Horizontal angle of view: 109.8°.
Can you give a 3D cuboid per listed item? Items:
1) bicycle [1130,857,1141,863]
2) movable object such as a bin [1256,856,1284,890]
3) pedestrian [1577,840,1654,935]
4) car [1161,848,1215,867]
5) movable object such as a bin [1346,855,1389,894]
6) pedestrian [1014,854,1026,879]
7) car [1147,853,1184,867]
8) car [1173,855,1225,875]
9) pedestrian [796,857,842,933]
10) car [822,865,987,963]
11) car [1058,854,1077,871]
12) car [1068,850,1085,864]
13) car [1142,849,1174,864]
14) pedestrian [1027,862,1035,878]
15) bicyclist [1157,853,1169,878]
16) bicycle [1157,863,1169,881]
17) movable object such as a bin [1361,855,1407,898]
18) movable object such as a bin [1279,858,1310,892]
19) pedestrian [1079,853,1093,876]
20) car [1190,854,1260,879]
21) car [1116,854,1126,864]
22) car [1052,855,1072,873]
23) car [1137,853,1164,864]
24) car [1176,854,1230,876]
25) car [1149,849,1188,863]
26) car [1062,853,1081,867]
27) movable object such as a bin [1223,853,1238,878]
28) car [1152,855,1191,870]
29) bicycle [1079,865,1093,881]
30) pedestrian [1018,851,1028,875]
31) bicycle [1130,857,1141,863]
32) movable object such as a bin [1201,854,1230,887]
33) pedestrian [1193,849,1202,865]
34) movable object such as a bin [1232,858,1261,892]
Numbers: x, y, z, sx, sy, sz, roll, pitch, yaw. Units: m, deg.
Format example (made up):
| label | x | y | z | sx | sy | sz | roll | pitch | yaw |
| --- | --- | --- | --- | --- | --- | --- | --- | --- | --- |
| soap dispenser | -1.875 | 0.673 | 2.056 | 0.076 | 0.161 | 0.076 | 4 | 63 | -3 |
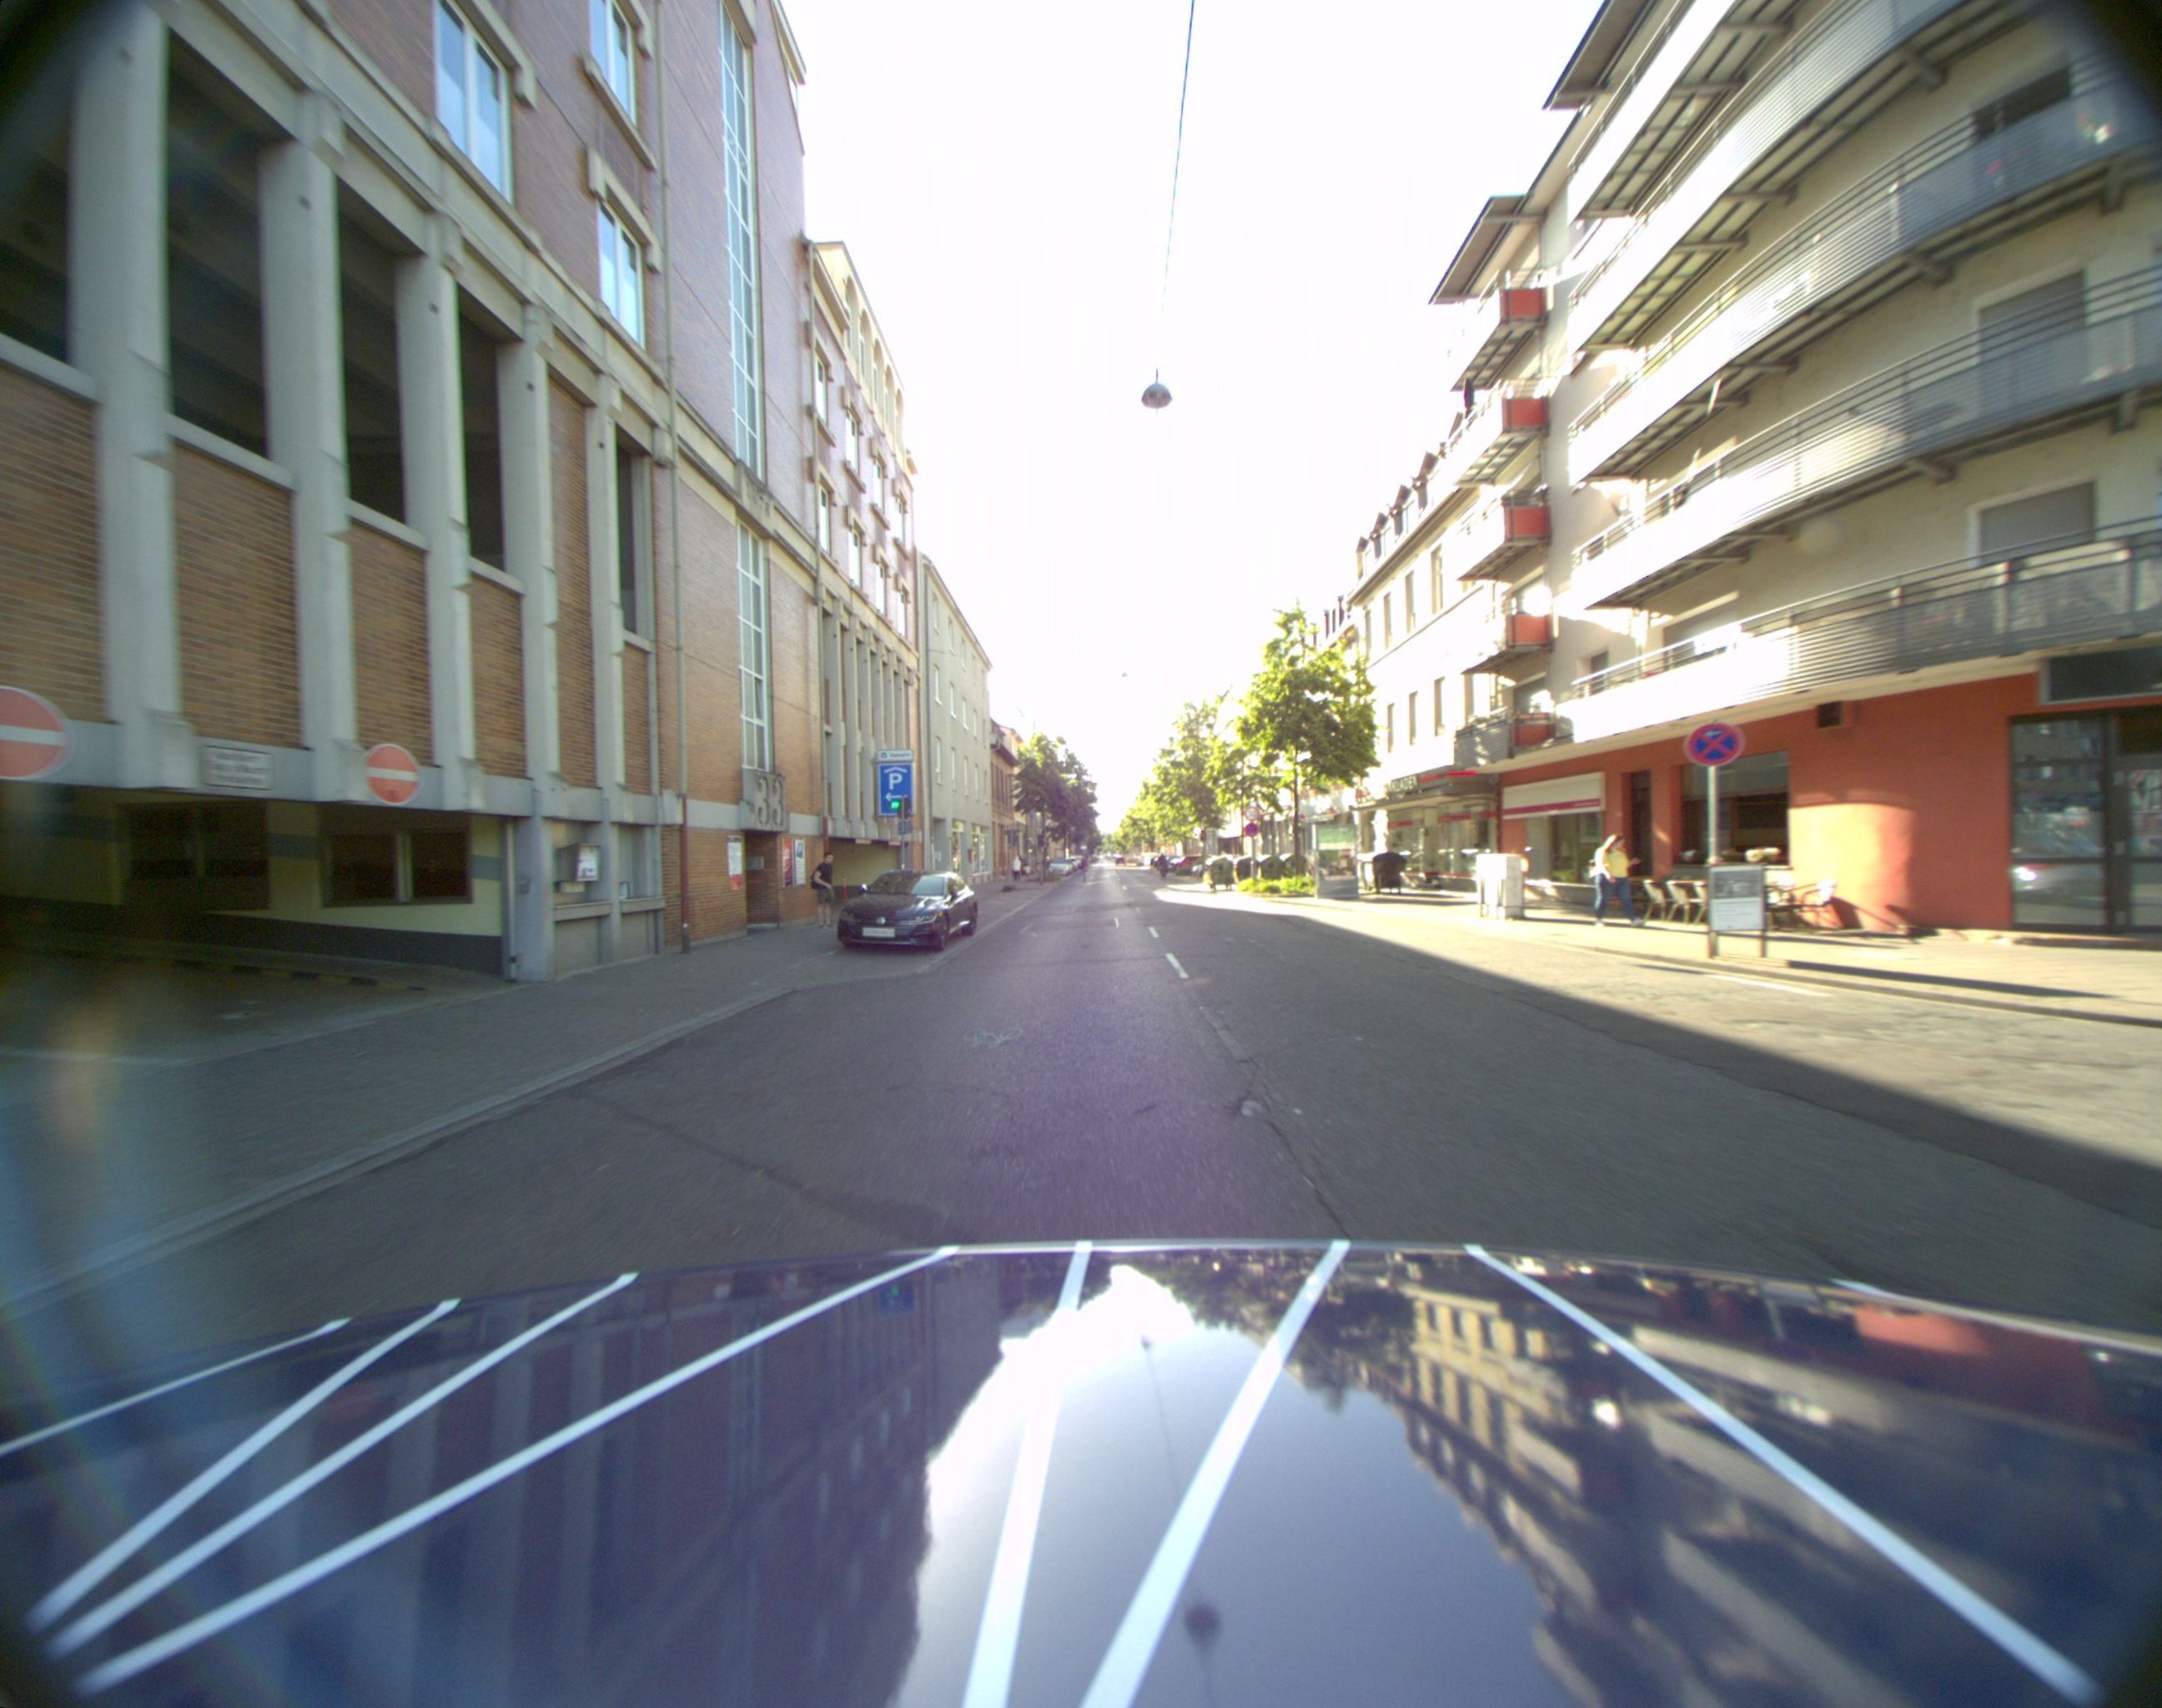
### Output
| label | x | y | z | sx | sy | sz | roll | pitch | yaw |
| --- | --- | --- | --- | --- | --- | --- | --- | --- | --- |
| bicycle | 10.529 | 1.121 | 145.858 | 2.006 | 1.023 | 0.473 | -3 | 1 | -11 |
| movable object such as a bin | 8.506 | 0.860 | 34.190 | 0.966 | 1.463 | 1.143 | -1 | 1 | 1 |
| pedestrian | 9.691 | 0.583 | 13.824 | 0.666 | 1.649 | 1.036 | -1 | 1 | 1 |
| car | 9.565 | 0.346 | 68.190 | 4.504 | 1.450 | 1.790 | -3 | 0 | 0 |
| movable object such as a bin | 10.266 | 0.713 | 27.238 | 1.044 | 1.337 | 1.314 | -1 | 1 | 1 |
| pedestrian | -3.942 | 0.782 | 49.112 | 0.582 | 1.550 | 1.020 | 2 | 1 | 1 |
| car | 10.273 | 0.697 | 92.908 | 4.377 | 1.561 | 1.946 | -2 | 0 | 2 |
| car | 9.178 | 0.834 | 59.310 | 3.850 | 1.420 | 1.790 | -2 | 0 | 3 |
| pedestrian | -5.839 | 0.891 | 16.985 | 0.693 | 1.626 | 0.889 | 1 | 1 | 1 |
| car | -3.282 | 1.047 | 15.246 | 1.922 | 1.470 | 4.965 | 2 | 0 | 2 |
| car | -1.222 | 0.774 | 70.257 | 1.618 | 1.520 | 4.235 | 2 | 0 | 1 |
| car | -0.520 | 0.355 | 97.278 | 1.998 | 1.680 | 4.516 | 2 | 0 | 1 |
| car | 10.287 | 0.392 | 101.889 | 4.115 | 1.825 | 2.039 | -2 | 0 | 2 |
| pedestrian | -3.255 | 1.058 | 49.415 | 0.394 | 1.027 | 0.739 | 2 | 1 | 1 |
| bicyclist | 5.456 | 0.758 | 50.539 | 0.698 | 1.643 | 1.036 | -1 | 1 | 4 |
| bicycle | 5.459 | 1.160 | 50.564 | 0.707 | 1.140 | 1.968 | -1 | 0 | 4 |
| movable object such as a bin | 10.271 | 0.738 | 25.810 | 1.044 | 1.396 | 1.314 | -1 | 1 | 1 |
| movable object such as a bin | 9.583 | 0.917 | 34.141 | 1.044 | 1.463 | 1.143 | -1 | 1 | 1 |
| pedestrian | 0.311 | 0.651 | 47.829 | 0.803 | 1.381 | 0.931 | -3 | 0 | 1 |
| car | 9.256 | 0.777 | 49.168 | 4.212 | 1.459 | 1.740 | -2 | 0 | 4 |
| car | 6.726 | 0.803 | 127.466 | 1.662 | 1.526 | 3.761 | 0 | 0 | 2 |
| car | -1.612 | 0.849 | 65.323 | 1.618 | 1.520 | 3.060 | 1 | 1 | 1 |
| car | 10.459 | 0.638 | 114.449 | 3.788 | 1.455 | 1.710 | -2 | 0 | -1 |
| car | 9.067 | 0.820 | 56.668 | 3.757 | 1.459 | 1.740 | -2 | 0 | 1 |
| car | 10.379 | 0.234 | 90.097 | 4.377 | 1.561 | 1.980 | -2 | 0 | 2 |
| car | -1.019 | 0.610 | 83.746 | 1.887 | 1.518 | 4.234 | 1 | 0 | 1 |
| movable object such as a bin | 8.118 | 0.607 | 41.230 | 0.636 | 1.333 | 0.805 | -1 | 1 | 1 |
| car | 9.414 | 0.882 | 79.067 | 3.790 | 1.450 | 1.780 | -2 | 0 | -1 |
| bicycle | 0.324 | 1.176 | 47.820 | 0.805 | 0.958 | 1.996 | -3 | 0 | 1 |
| pedestrian | -4.291 | 0.655 | 55.998 | 0.624 | 1.755 | 0.771 | 1 | 1 | 3 |
| bicycle | 10.446 | 1.103 | 146.352 | 2.006 | 1.023 | 0.473 | -3 | 1 | -11 |
| movable object such as a bin | 6.068 | 0.735 | 34.417 | 1.044 | 1.463 | 1.452 | -1 | 1 | 1 |
| pedestrian | 13.615 | 0.332 | 88.823 | 0.776 | 1.756 | 0.763 | -6 | 1 | 0 |
| movable object such as a bin | 7.409 | 0.925 | 34.081 | 1.044 | 1.463 | 1.143 | -1 | 1 | 1 |
